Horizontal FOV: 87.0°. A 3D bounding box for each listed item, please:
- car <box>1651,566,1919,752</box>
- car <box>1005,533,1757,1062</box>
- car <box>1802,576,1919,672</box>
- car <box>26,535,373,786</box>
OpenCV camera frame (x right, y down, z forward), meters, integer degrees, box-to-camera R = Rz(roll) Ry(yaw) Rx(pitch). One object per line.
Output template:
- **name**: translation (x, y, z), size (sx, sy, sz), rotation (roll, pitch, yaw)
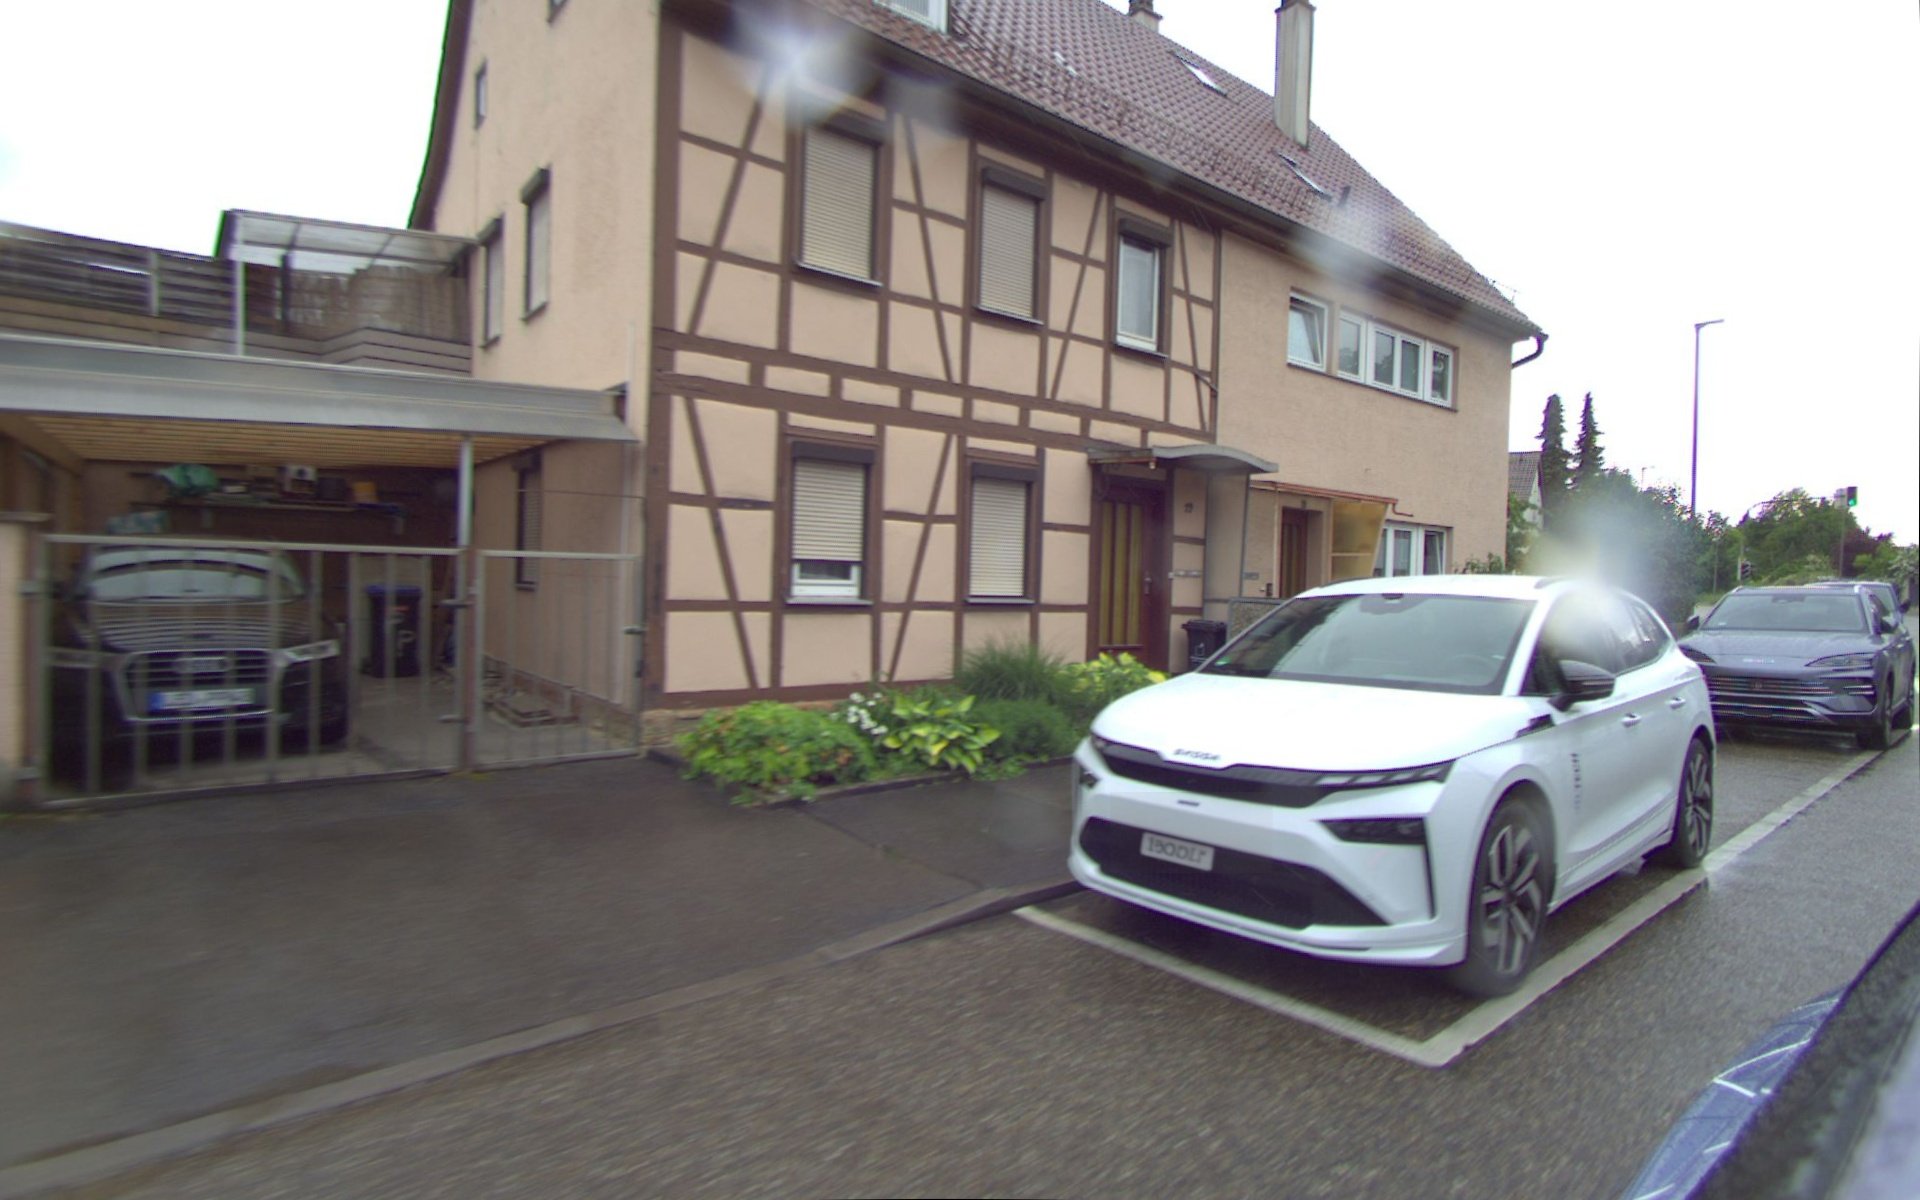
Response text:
- **car**: translation (9.692, 0.540, 11.675), size (4.479, 1.739, 1.910), rotation (0, 0, -43)
- **car**: translation (2.491, 0.589, 5.271), size (4.531, 1.615, 1.806), rotation (0, 0, -41)
- **car**: translation (20.318, 0.461, 22.857), size (1.927, 1.926, 4.725), rotation (0, 0, 39)
- **car**: translation (-5.960, 0.251, 8.061), size (1.774, 1.475, 3.928), rotation (0, 3, -37)
